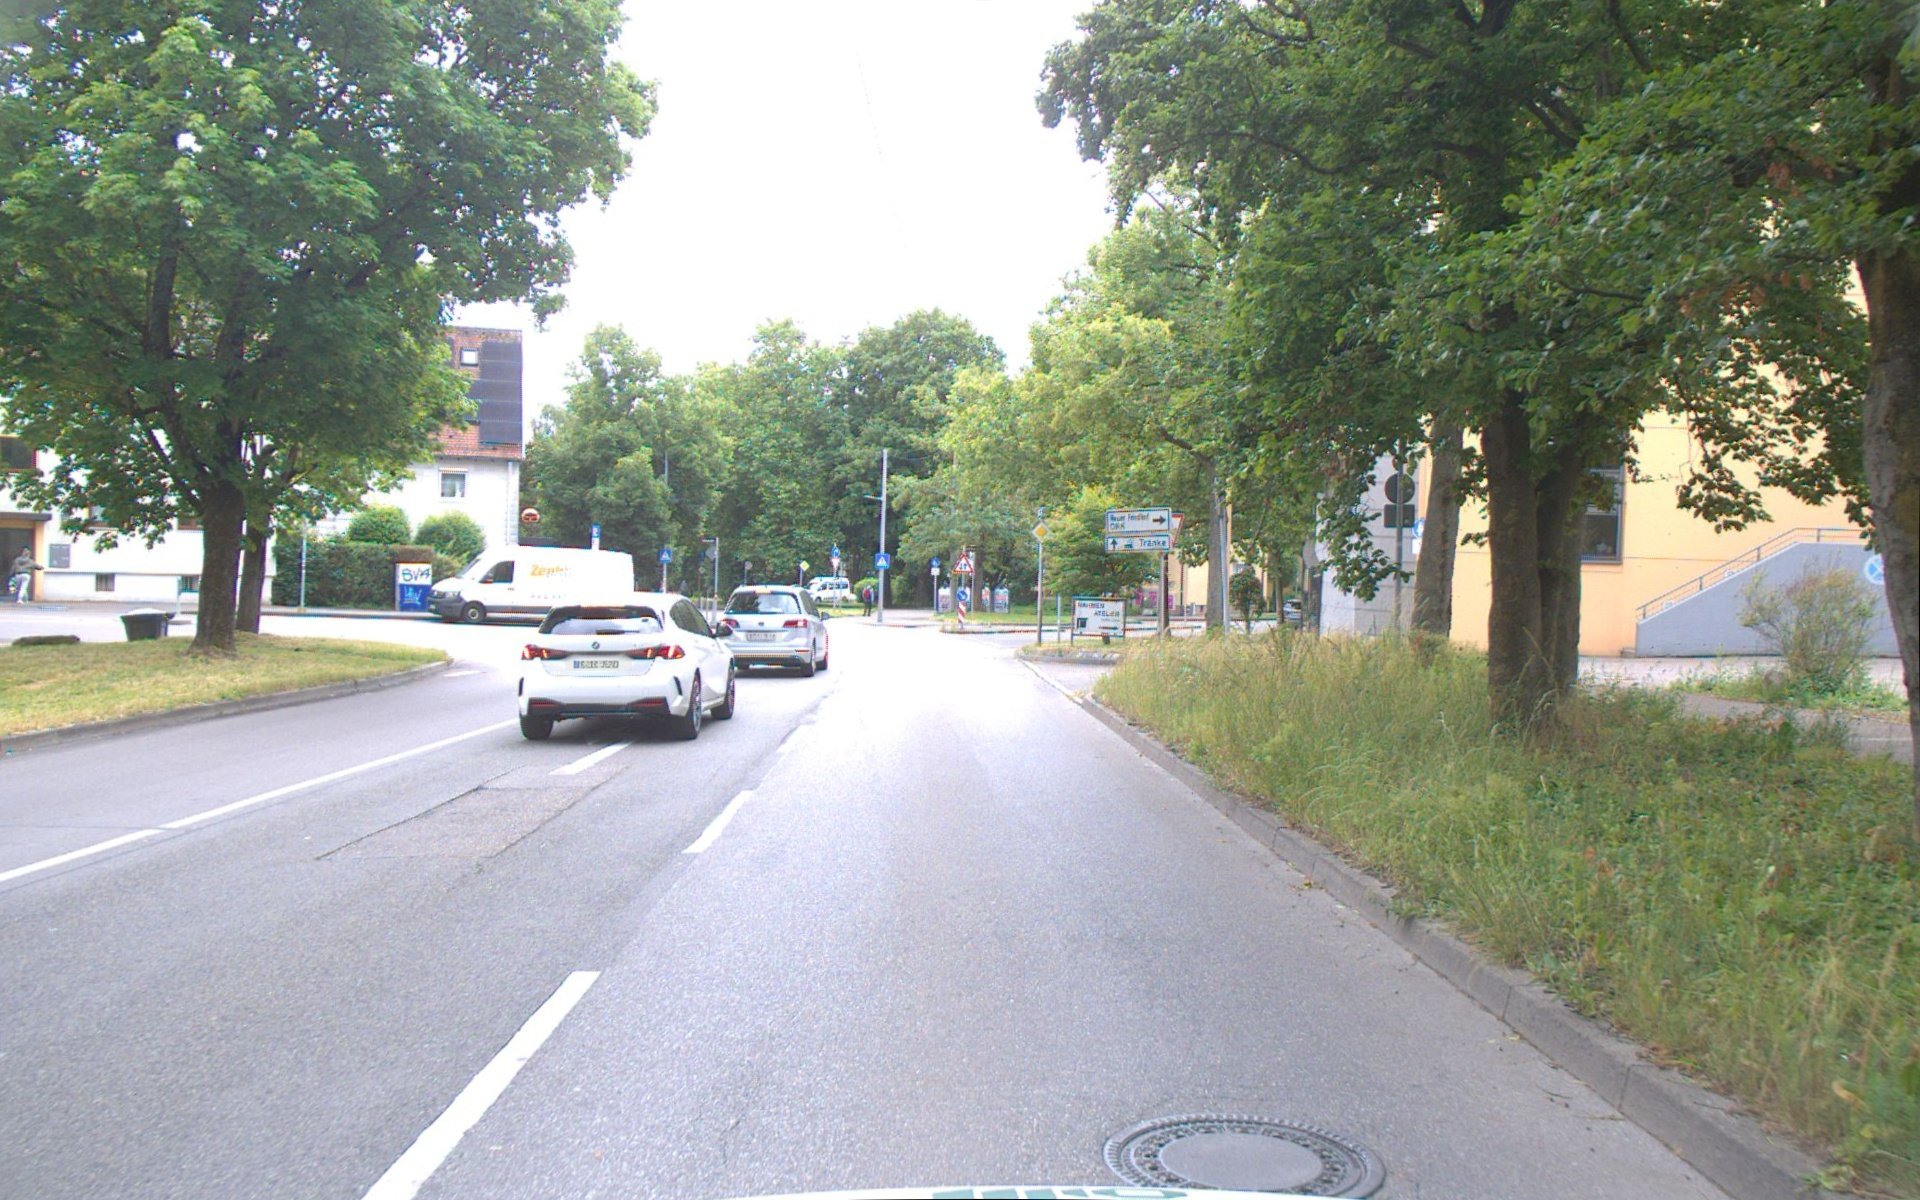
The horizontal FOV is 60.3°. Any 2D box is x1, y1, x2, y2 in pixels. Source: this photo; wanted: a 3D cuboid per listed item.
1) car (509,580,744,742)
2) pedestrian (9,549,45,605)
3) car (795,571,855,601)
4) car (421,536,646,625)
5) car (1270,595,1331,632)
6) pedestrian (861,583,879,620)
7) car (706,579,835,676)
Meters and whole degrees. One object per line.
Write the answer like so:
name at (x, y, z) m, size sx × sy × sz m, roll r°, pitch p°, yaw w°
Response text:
car at (-3.509, 0.590, 18.145) m, size 1.759 × 1.544 × 4.206 m, roll -1°, pitch 0°, yaw -1°
pedestrian at (-27.248, -0.676, 48.300) m, size 0.742 × 1.560 × 0.706 m, roll 3°, pitch 1°, yaw -40°
car at (-11.892, -1.204, 146.063) m, size 2.097 × 2.336 × 5.362 m, roll 5°, pitch 1°, yaw 37°
car at (-13.983, -0.597, 54.609) m, size 6.911 × 2.565 × 2.057 m, roll 2°, pitch 2°, yaw -39°
car at (16.414, 0.640, 79.561) m, size 1.838 × 1.595 × 4.014 m, roll 5°, pitch 1°, yaw 26°
pedestrian at (-4.938, 0.082, 90.390) m, size 0.906 × 1.903 × 1.018 m, roll -2°, pitch 3°, yaw -5°
car at (-3.390, 0.441, 30.268) m, size 1.884 × 1.601 × 4.000 m, roll 1°, pitch 1°, yaw 0°
